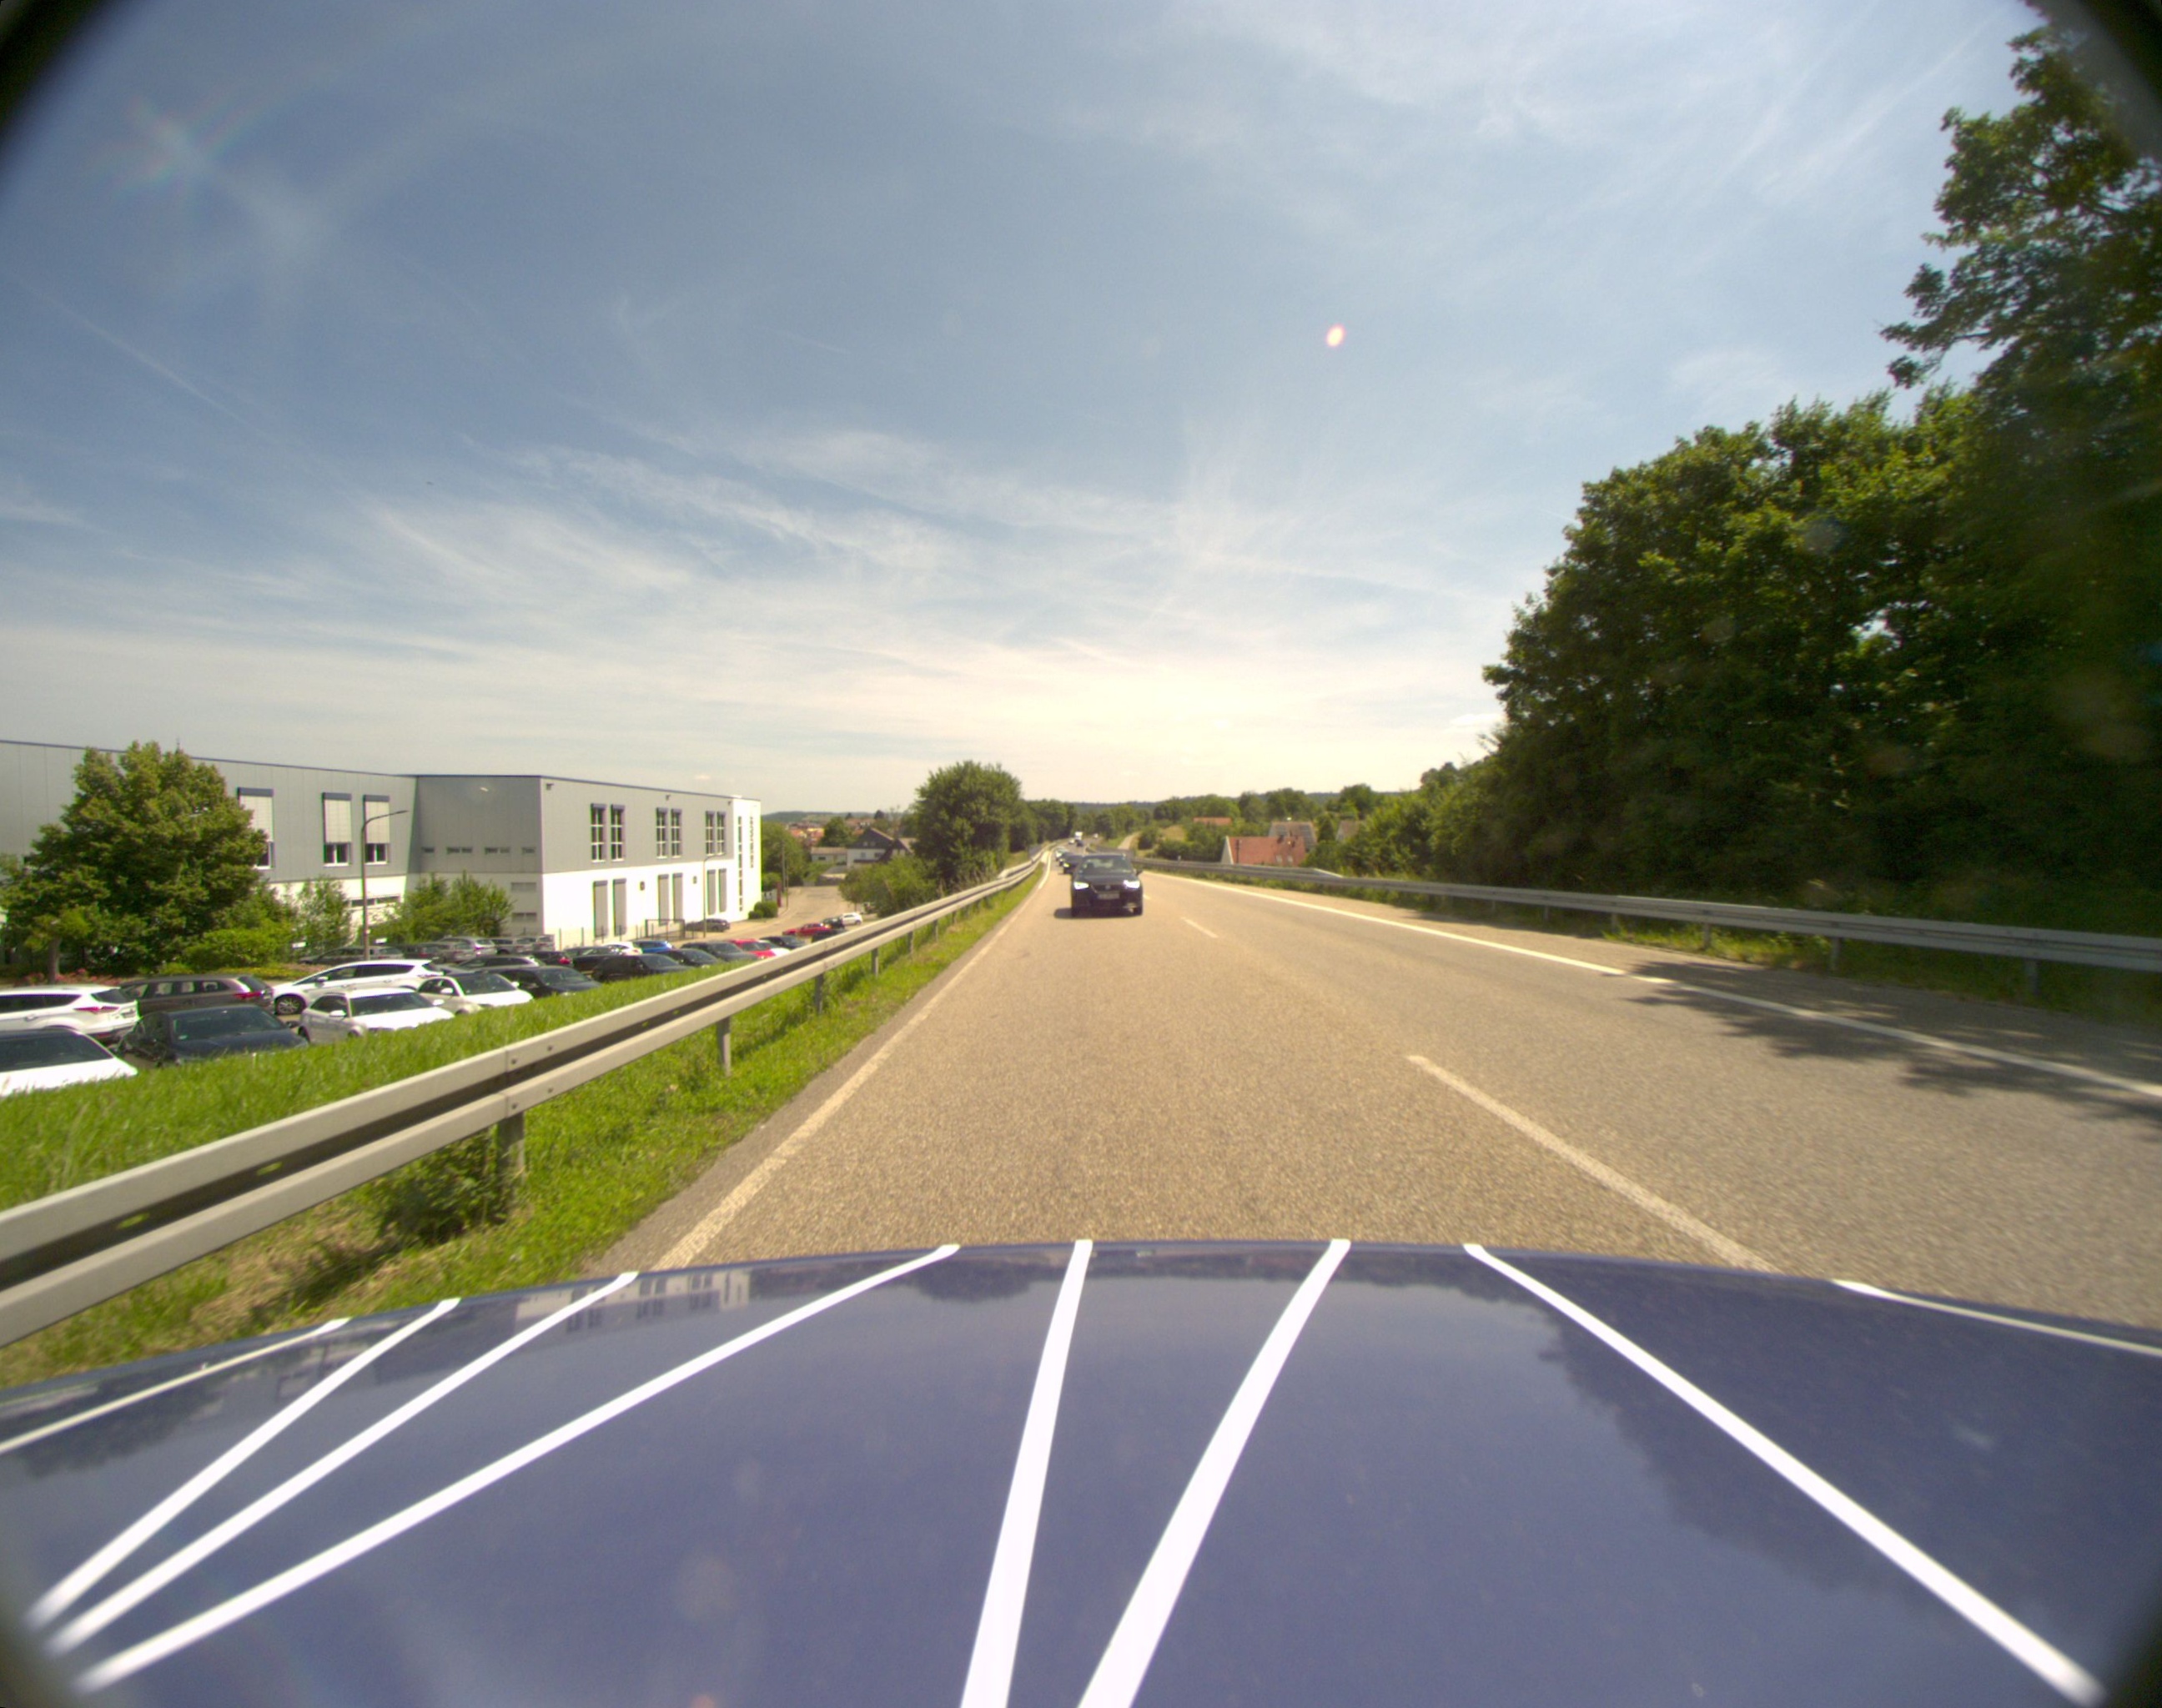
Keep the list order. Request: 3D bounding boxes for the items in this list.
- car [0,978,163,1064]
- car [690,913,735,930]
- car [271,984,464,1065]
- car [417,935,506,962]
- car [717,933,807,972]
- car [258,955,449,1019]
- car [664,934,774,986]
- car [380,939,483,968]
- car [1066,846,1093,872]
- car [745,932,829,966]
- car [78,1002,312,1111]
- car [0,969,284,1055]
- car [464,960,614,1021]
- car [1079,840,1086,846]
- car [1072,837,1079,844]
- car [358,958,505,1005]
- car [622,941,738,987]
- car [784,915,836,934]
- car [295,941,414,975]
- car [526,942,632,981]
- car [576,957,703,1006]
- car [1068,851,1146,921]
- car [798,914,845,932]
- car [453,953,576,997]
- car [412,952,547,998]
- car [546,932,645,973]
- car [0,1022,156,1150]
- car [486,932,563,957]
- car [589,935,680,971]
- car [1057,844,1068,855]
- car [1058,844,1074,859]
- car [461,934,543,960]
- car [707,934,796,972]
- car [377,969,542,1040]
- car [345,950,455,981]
[{"bbox_3d":[-25.344,3.995,17.751,4.595,1.649,1.817,0,-4,-33],"label":"car"},{"bbox_3d":[-41.007,7.511,84.656,4.049,1.562,1.912,3,-2,-3],"label":"car"},{"bbox_3d":[-16.567,3.915,17.621,4.368,1.386,1.822,-6,-2,27],"label":"car"},{"bbox_3d":[-39.795,6.075,48.890,4.048,1.562,1.912,1,-2,-3],"label":"car"},{"bbox_3d":[-17.621,5.436,41.979,4.402,1.652,1.902,-6,-2,21],"label":"car"},{"bbox_3d":[-25.347,4.598,26.753,4.595,1.649,1.787,0,-4,-33],"label":"car"},{"bbox_3d":[-17.152,5.035,36.014,4.715,2.001,2.082,-6,-2,25],"label":"car"},{"bbox_3d":[-39.507,6.063,46.319,4.584,1.562,1.821,1,-2,-3],"label":"car"},{"bbox_3d":[-0.131,0.398,54.860,1.879,1.637,4.001,2,-3,-1],"label":"car"},{"bbox_3d":[-17.123,5.534,44.303,4.402,1.533,1.793,-6,-2,21],"label":"car"},{"bbox_3d":[-16.699,3.705,14.294,4.368,1.447,1.822,-6,-2,27],"label":"car"},{"bbox_3d":[-25.394,4.212,20.812,4.595,1.649,1.787,0,-4,-33],"label":"car"},{"bbox_3d":[-16.829,4.244,23.585,4.368,1.481,1.714,-6,-2,23],"label":"car"},{"bbox_3d":[0.418,-3.279,220.520,1.870,1.602,4.371,1,1,-1],"label":"car"},{"bbox_3d":[-1.777,-4.321,245.451,1.978,2.002,3.999,4,0,0],"label":"car"},{"bbox_3d":[-25.375,4.960,29.901,4.167,1.369,1.787,0,-4,-33],"label":"car"},{"bbox_3d":[-17.524,4.802,33.162,4.715,1.554,1.964,-6,-2,25],"label":"car"},{"bbox_3d":[-26.806,6.965,75.199,4.417,1.436,1.787,-4,-2,-31],"label":"car"},{"bbox_3d":[-39.508,5.637,41.404,4.584,1.562,1.821,-1,-2,-3],"label":"car"},{"bbox_3d":[-25.592,5.466,38.933,4.418,1.531,1.787,-1,-4,-31],"label":"car"},{"bbox_3d":[-17.345,4.995,29.814,4.715,1.479,1.917,-6,-2,25],"label":"car"},{"bbox_3d":[0.573,0.734,19.489,1.738,1.468,3.998,1,2,-2],"label":"car"},{"bbox_3d":[-28.394,7.519,83.143,4.417,1.436,1.787,-4,-2,-31],"label":"car"},{"bbox_3d":[-26.186,5.583,35.314,4.418,1.526,1.787,0,-4,-31],"label":"car"},{"bbox_3d":[-25.632,5.125,32.592,4.419,1.500,1.787,0,-5,-36],"label":"car"},{"bbox_3d":[-26.608,5.378,41.839,4.417,1.594,1.787,-4,-2,-31],"label":"car"},{"bbox_3d":[-16.439,3.494,11.586,4.368,1.447,1.822,-6,-2,24],"label":"car"},{"bbox_3d":[-39.674,6.454,54.232,4.048,1.562,1.912,1,-2,-3],"label":"car"},{"bbox_3d":[-26.228,5.786,44.746,4.417,1.436,1.787,-4,-2,-31],"label":"car"},{"bbox_3d":[-3.093,-0.711,128.677,1.879,1.637,4.001,2,-3,-1],"label":"car"},{"bbox_3d":[-1.943,-0.276,98.725,1.879,1.637,4.001,2,-3,-1],"label":"car"},{"bbox_3d":[-39.338,6.329,51.698,4.048,1.562,1.912,1,-2,-3],"label":"car"},{"bbox_3d":[-16.902,5.087,38.910,4.401,1.549,1.989,-7,-2,34],"label":"car"},{"bbox_3d":[-16.905,4.094,20.654,4.118,1.509,1.682,-6,-2,23],"label":"car"},{"bbox_3d":[-39.338,6.416,43.958,4.584,1.562,1.821,1,-2,-3],"label":"car"}]
